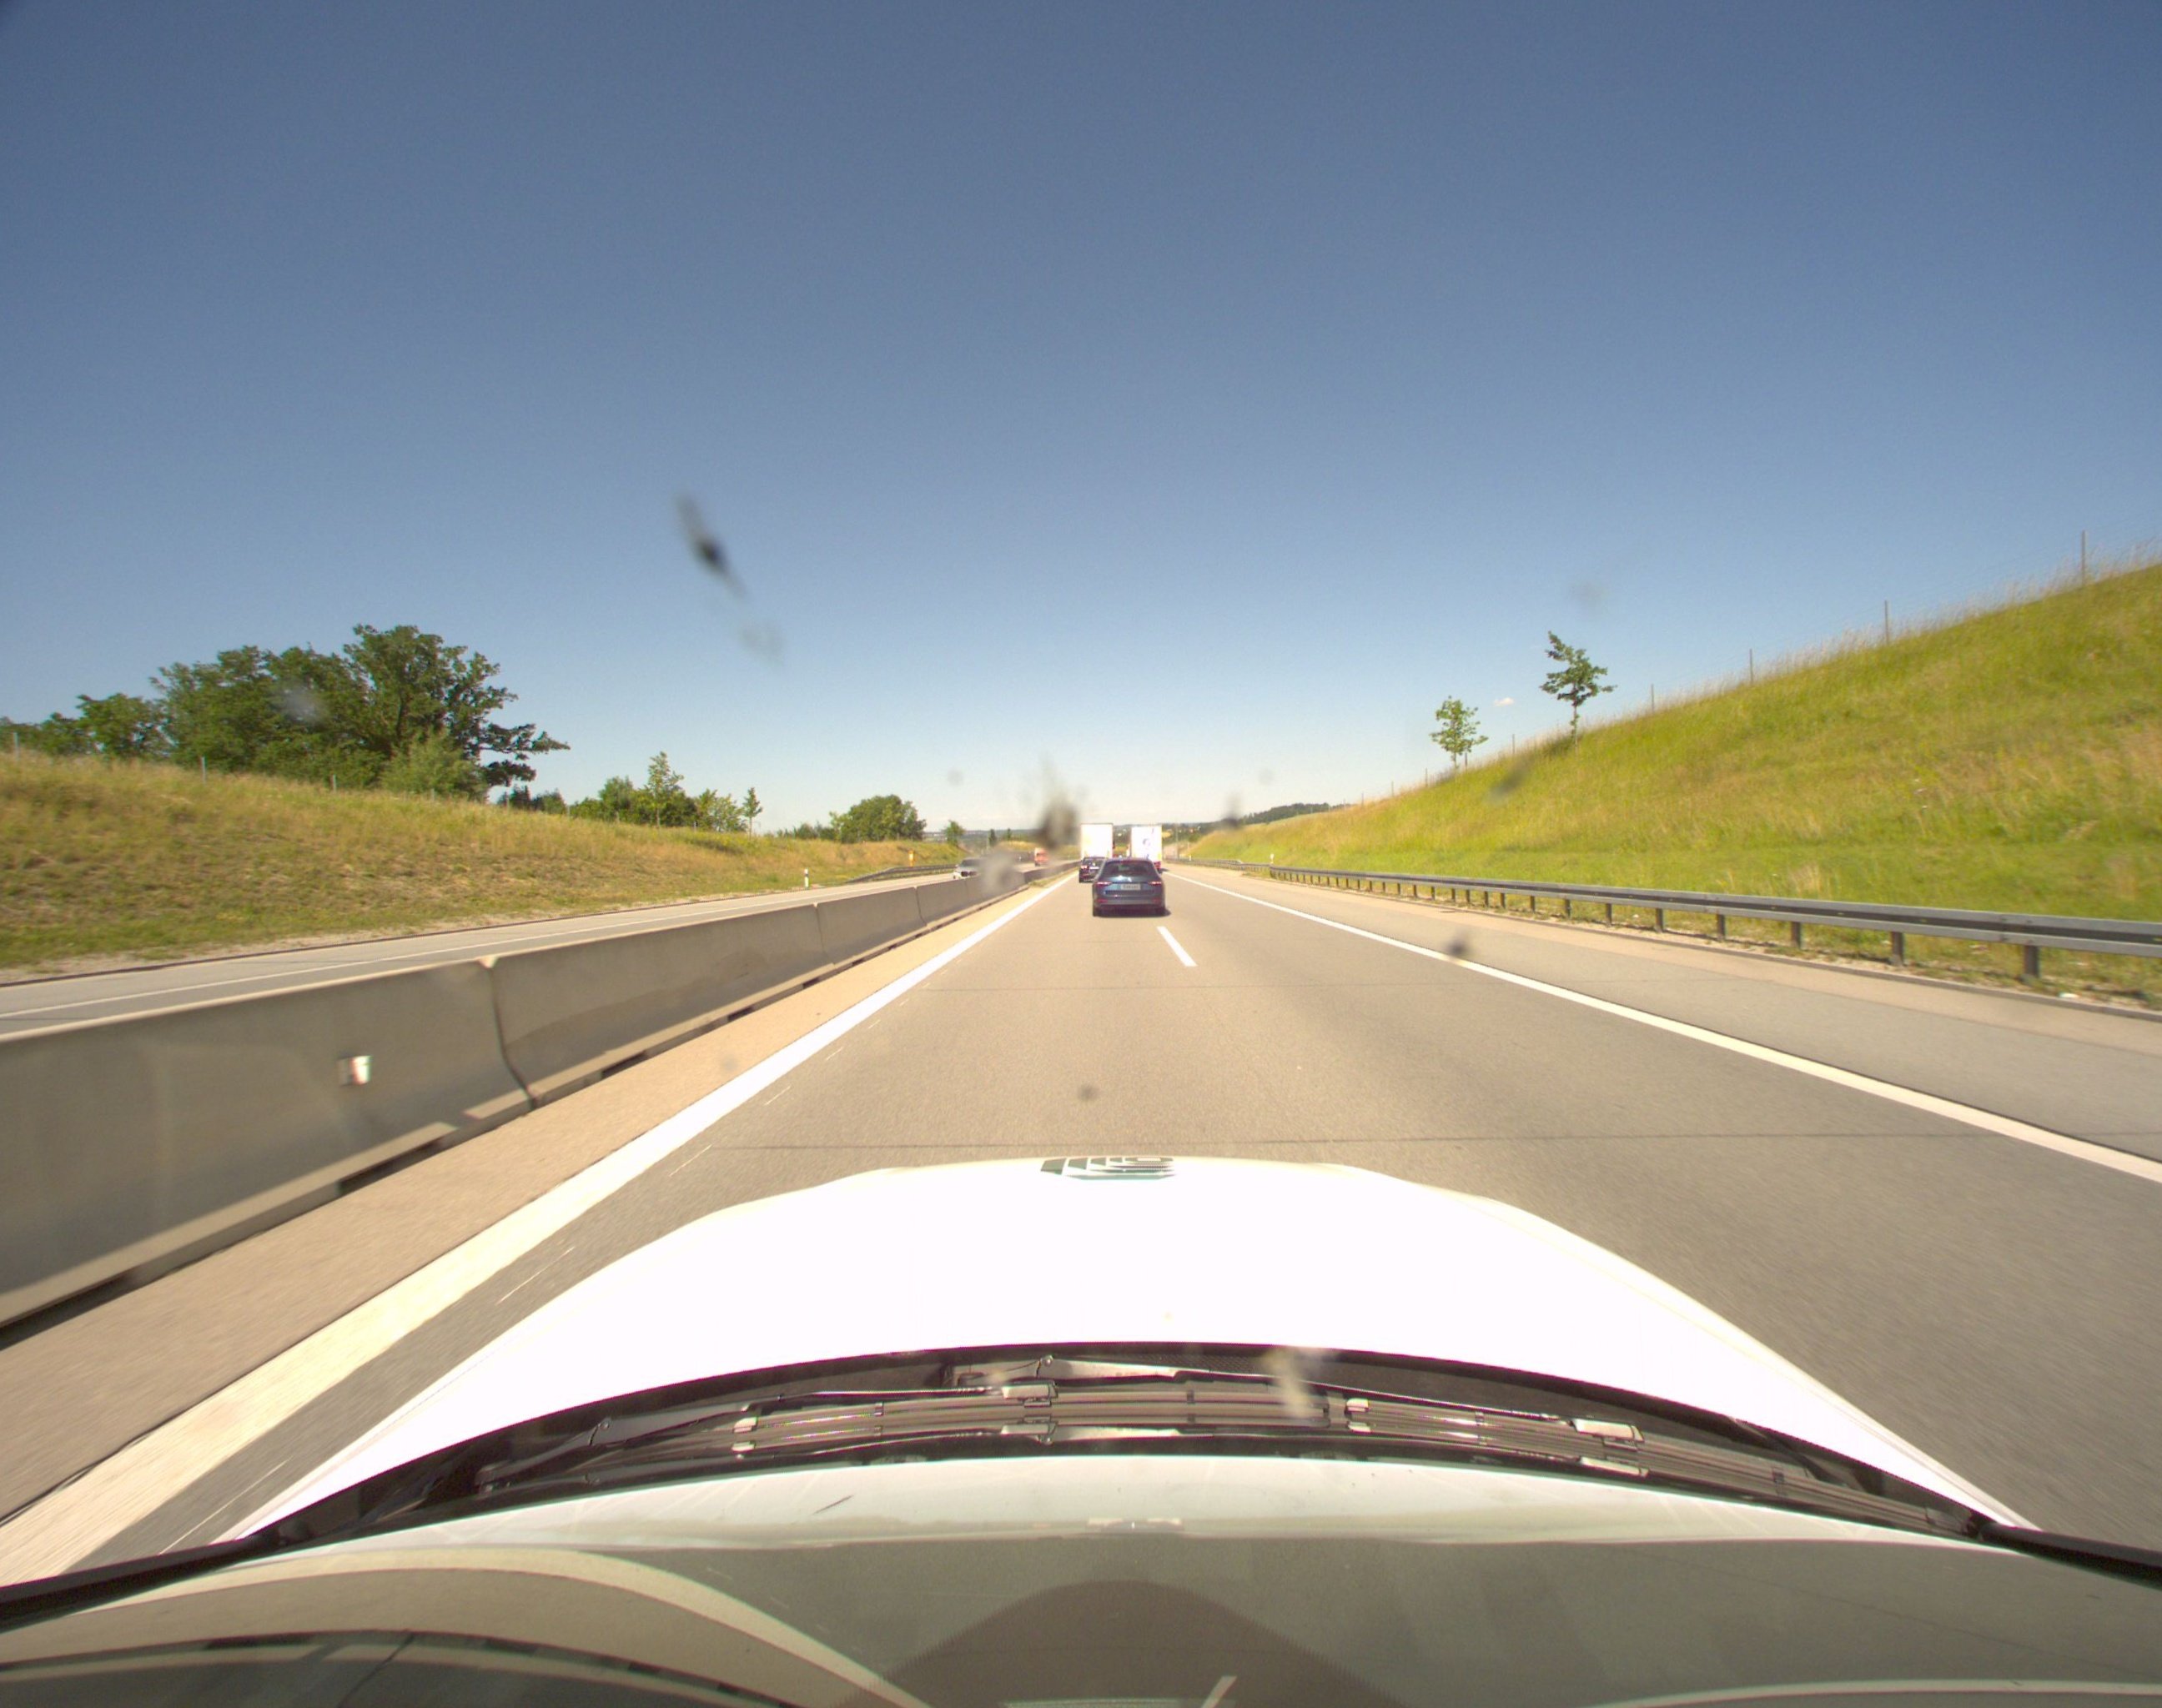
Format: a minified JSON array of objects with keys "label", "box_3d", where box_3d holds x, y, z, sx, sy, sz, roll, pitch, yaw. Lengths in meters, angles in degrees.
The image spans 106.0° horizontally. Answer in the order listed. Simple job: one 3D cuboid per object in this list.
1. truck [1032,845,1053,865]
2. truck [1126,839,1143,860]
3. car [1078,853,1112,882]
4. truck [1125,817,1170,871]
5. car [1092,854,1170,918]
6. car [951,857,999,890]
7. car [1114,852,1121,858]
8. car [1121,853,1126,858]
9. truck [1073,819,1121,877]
[{"label":"truck","box_3d":[-6.045,0.127,128.478,2.764,3.021,6.795,-1,0,2]},{"label":"truck","box_3d":[12.366,-1.032,188.836,3.588,4.381,11.246,-3,0,4]},{"label":"car","box_3d":[0.767,0.738,45.747,1.694,1.441,4.000,-3,0,0]},{"label":"truck","box_3d":[6.107,-0.857,75.136,3.588,4.381,11.246,-3,0,4]},{"label":"car","box_3d":[1.180,0.749,20.866,1.771,1.441,3.788,-1,0,0]},{"label":"car","box_3d":[-5.916,1.026,45.944,1.924,1.732,4.888,0,0,2]},{"label":"car","box_3d":[9.110,0.324,202.159,1.693,1.441,4.003,-1,0,3]},{"label":"car","box_3d":[12.627,0.381,242.443,1.693,1.441,4.003,-1,0,3]},{"label":"truck","box_3d":[1.528,-0.522,69.895,3.196,4.381,11.247,-3,0,4]}]
